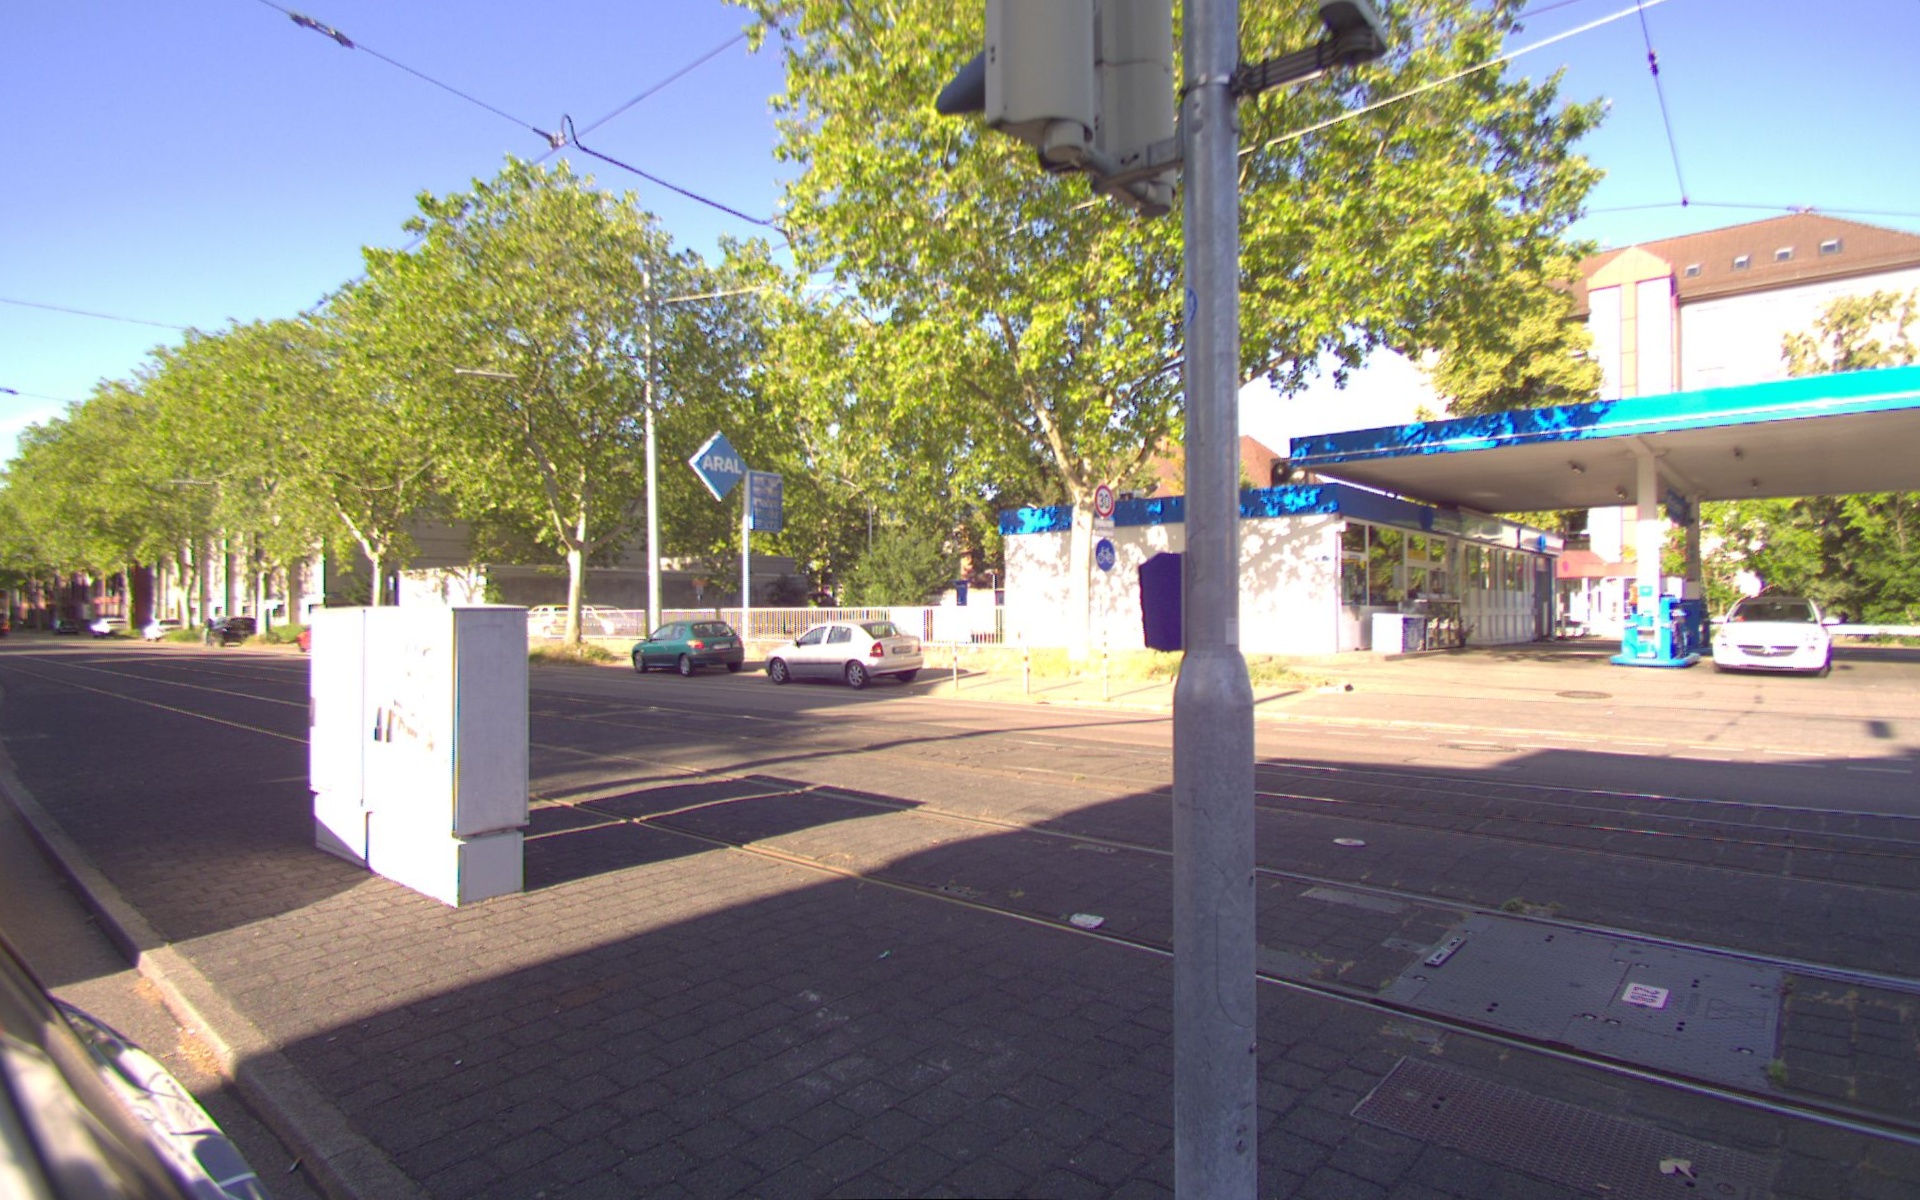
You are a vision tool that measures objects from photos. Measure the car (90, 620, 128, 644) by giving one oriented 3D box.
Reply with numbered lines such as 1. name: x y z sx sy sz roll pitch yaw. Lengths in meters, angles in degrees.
1. car: -66.940 2.495 79.591 4.098 1.686 1.821 -1 1 44

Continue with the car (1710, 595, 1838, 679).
1. car: 16.027 0.688 19.892 1.780 1.475 3.946 -1 -1 40

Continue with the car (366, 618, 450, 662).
1. car: -21.967 1.546 40.194 4.002 1.545 1.820 -1 1 45

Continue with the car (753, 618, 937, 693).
1. car: -2.627 1.182 22.650 3.997 1.418 1.823 -1 1 40

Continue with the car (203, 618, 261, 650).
1. car: -40.656 1.891 56.491 4.098 1.628 1.821 -1 1 44

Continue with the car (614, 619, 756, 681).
1. car: -7.433 1.280 27.140 4.138 1.418 1.820 -1 1 45

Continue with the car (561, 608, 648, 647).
1. car: -15.395 1.177 43.779 3.999 1.545 1.822 -1 1 42

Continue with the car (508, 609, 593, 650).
1. car: -17.136 1.200 42.287 4.002 1.545 1.820 -1 1 45

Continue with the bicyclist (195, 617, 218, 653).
1. bicyclist: -40.431 1.869 54.282 1.069 1.878 0.712 -1 -1 37

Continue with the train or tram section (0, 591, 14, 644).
1. train or tram section: -68.065 1.240 69.809 10.173 3.503 2.826 -1 0 40

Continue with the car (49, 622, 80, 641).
1. car: -85.035 2.953 96.117 4.098 1.686 1.821 -1 1 44

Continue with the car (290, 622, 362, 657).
1. car: -28.966 1.779 46.188 4.001 1.418 1.821 -1 1 44

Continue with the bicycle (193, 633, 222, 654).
1. bicycle: -40.367 2.320 54.280 2.530 1.129 0.646 -1 -1 39

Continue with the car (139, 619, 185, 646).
1. car: -53.838 2.166 68.217 4.098 1.686 1.821 -1 1 44
